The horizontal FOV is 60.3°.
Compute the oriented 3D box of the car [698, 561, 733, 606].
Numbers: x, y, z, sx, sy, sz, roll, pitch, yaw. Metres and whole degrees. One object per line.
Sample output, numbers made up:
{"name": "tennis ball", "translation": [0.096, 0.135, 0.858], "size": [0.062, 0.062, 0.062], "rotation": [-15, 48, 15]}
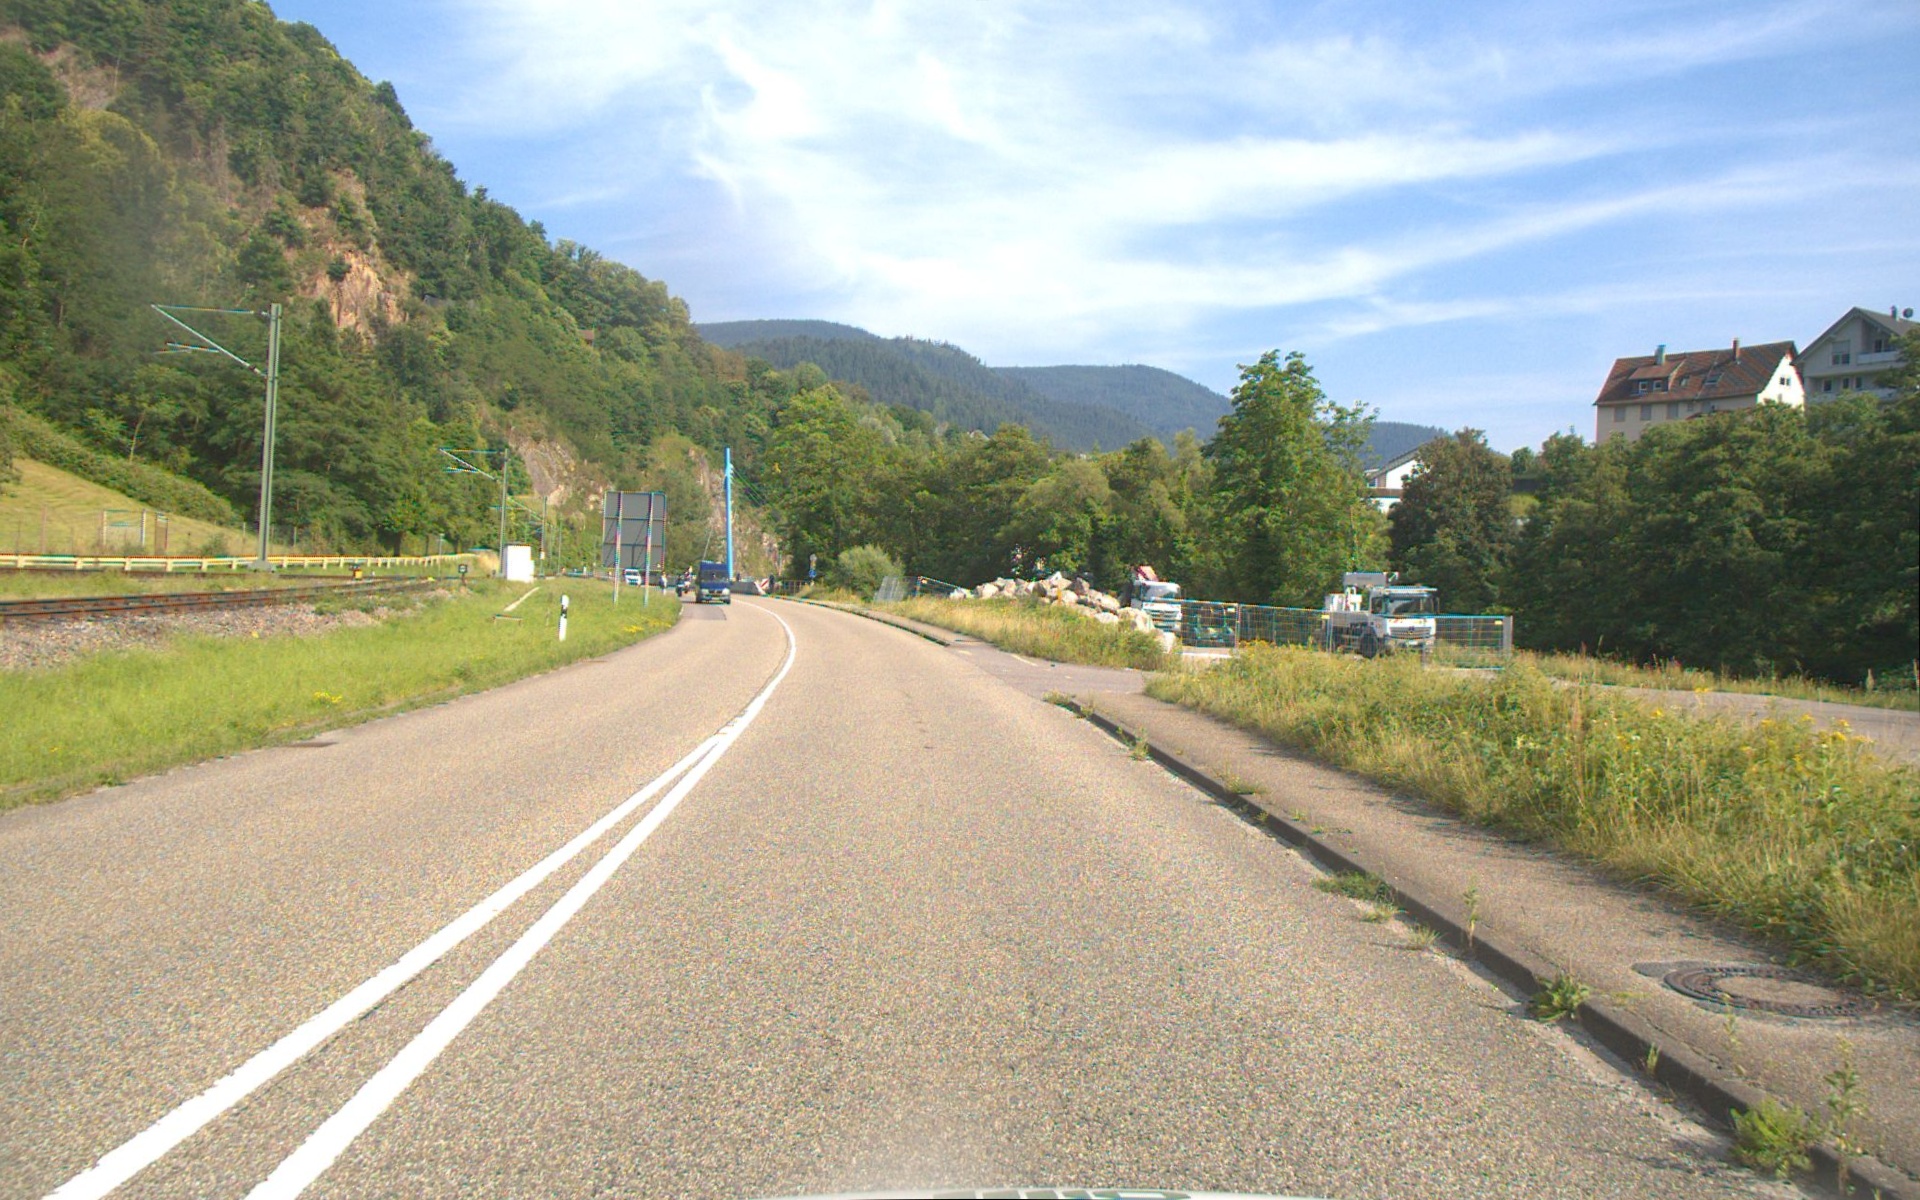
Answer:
{"name": "car", "translation": [-15.002, -1.039, 101.623], "size": [2.087, 2.661, 5.470], "rotation": [0, 1, -8]}

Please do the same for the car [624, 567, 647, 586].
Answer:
{"name": "car", "translation": [-33.702, -2.455, 171.758], "size": [1.840, 1.812, 4.578], "rotation": [3, 1, -17]}

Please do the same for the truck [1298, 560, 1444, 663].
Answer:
{"name": "truck", "translation": [16.851, 0.404, 68.530], "size": [3.043, 3.847, 8.635], "rotation": [3, 0, -5]}

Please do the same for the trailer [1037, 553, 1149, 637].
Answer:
{"name": "trailer", "translation": [7.421, -0.299, 94.031], "size": [3.308, 4.349, 9.874], "rotation": [3, -1, -14]}

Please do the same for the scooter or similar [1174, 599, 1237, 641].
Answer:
{"name": "scooter or similar", "translation": [12.511, 0.999, 84.438], "size": [1.958, 2.049, 3.990], "rotation": [1, 0, -11]}

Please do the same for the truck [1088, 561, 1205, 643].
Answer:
{"name": "truck", "translation": [9.463, 0.027, 85.036], "size": [3.051, 3.847, 8.614], "rotation": [3, 0, -14]}
